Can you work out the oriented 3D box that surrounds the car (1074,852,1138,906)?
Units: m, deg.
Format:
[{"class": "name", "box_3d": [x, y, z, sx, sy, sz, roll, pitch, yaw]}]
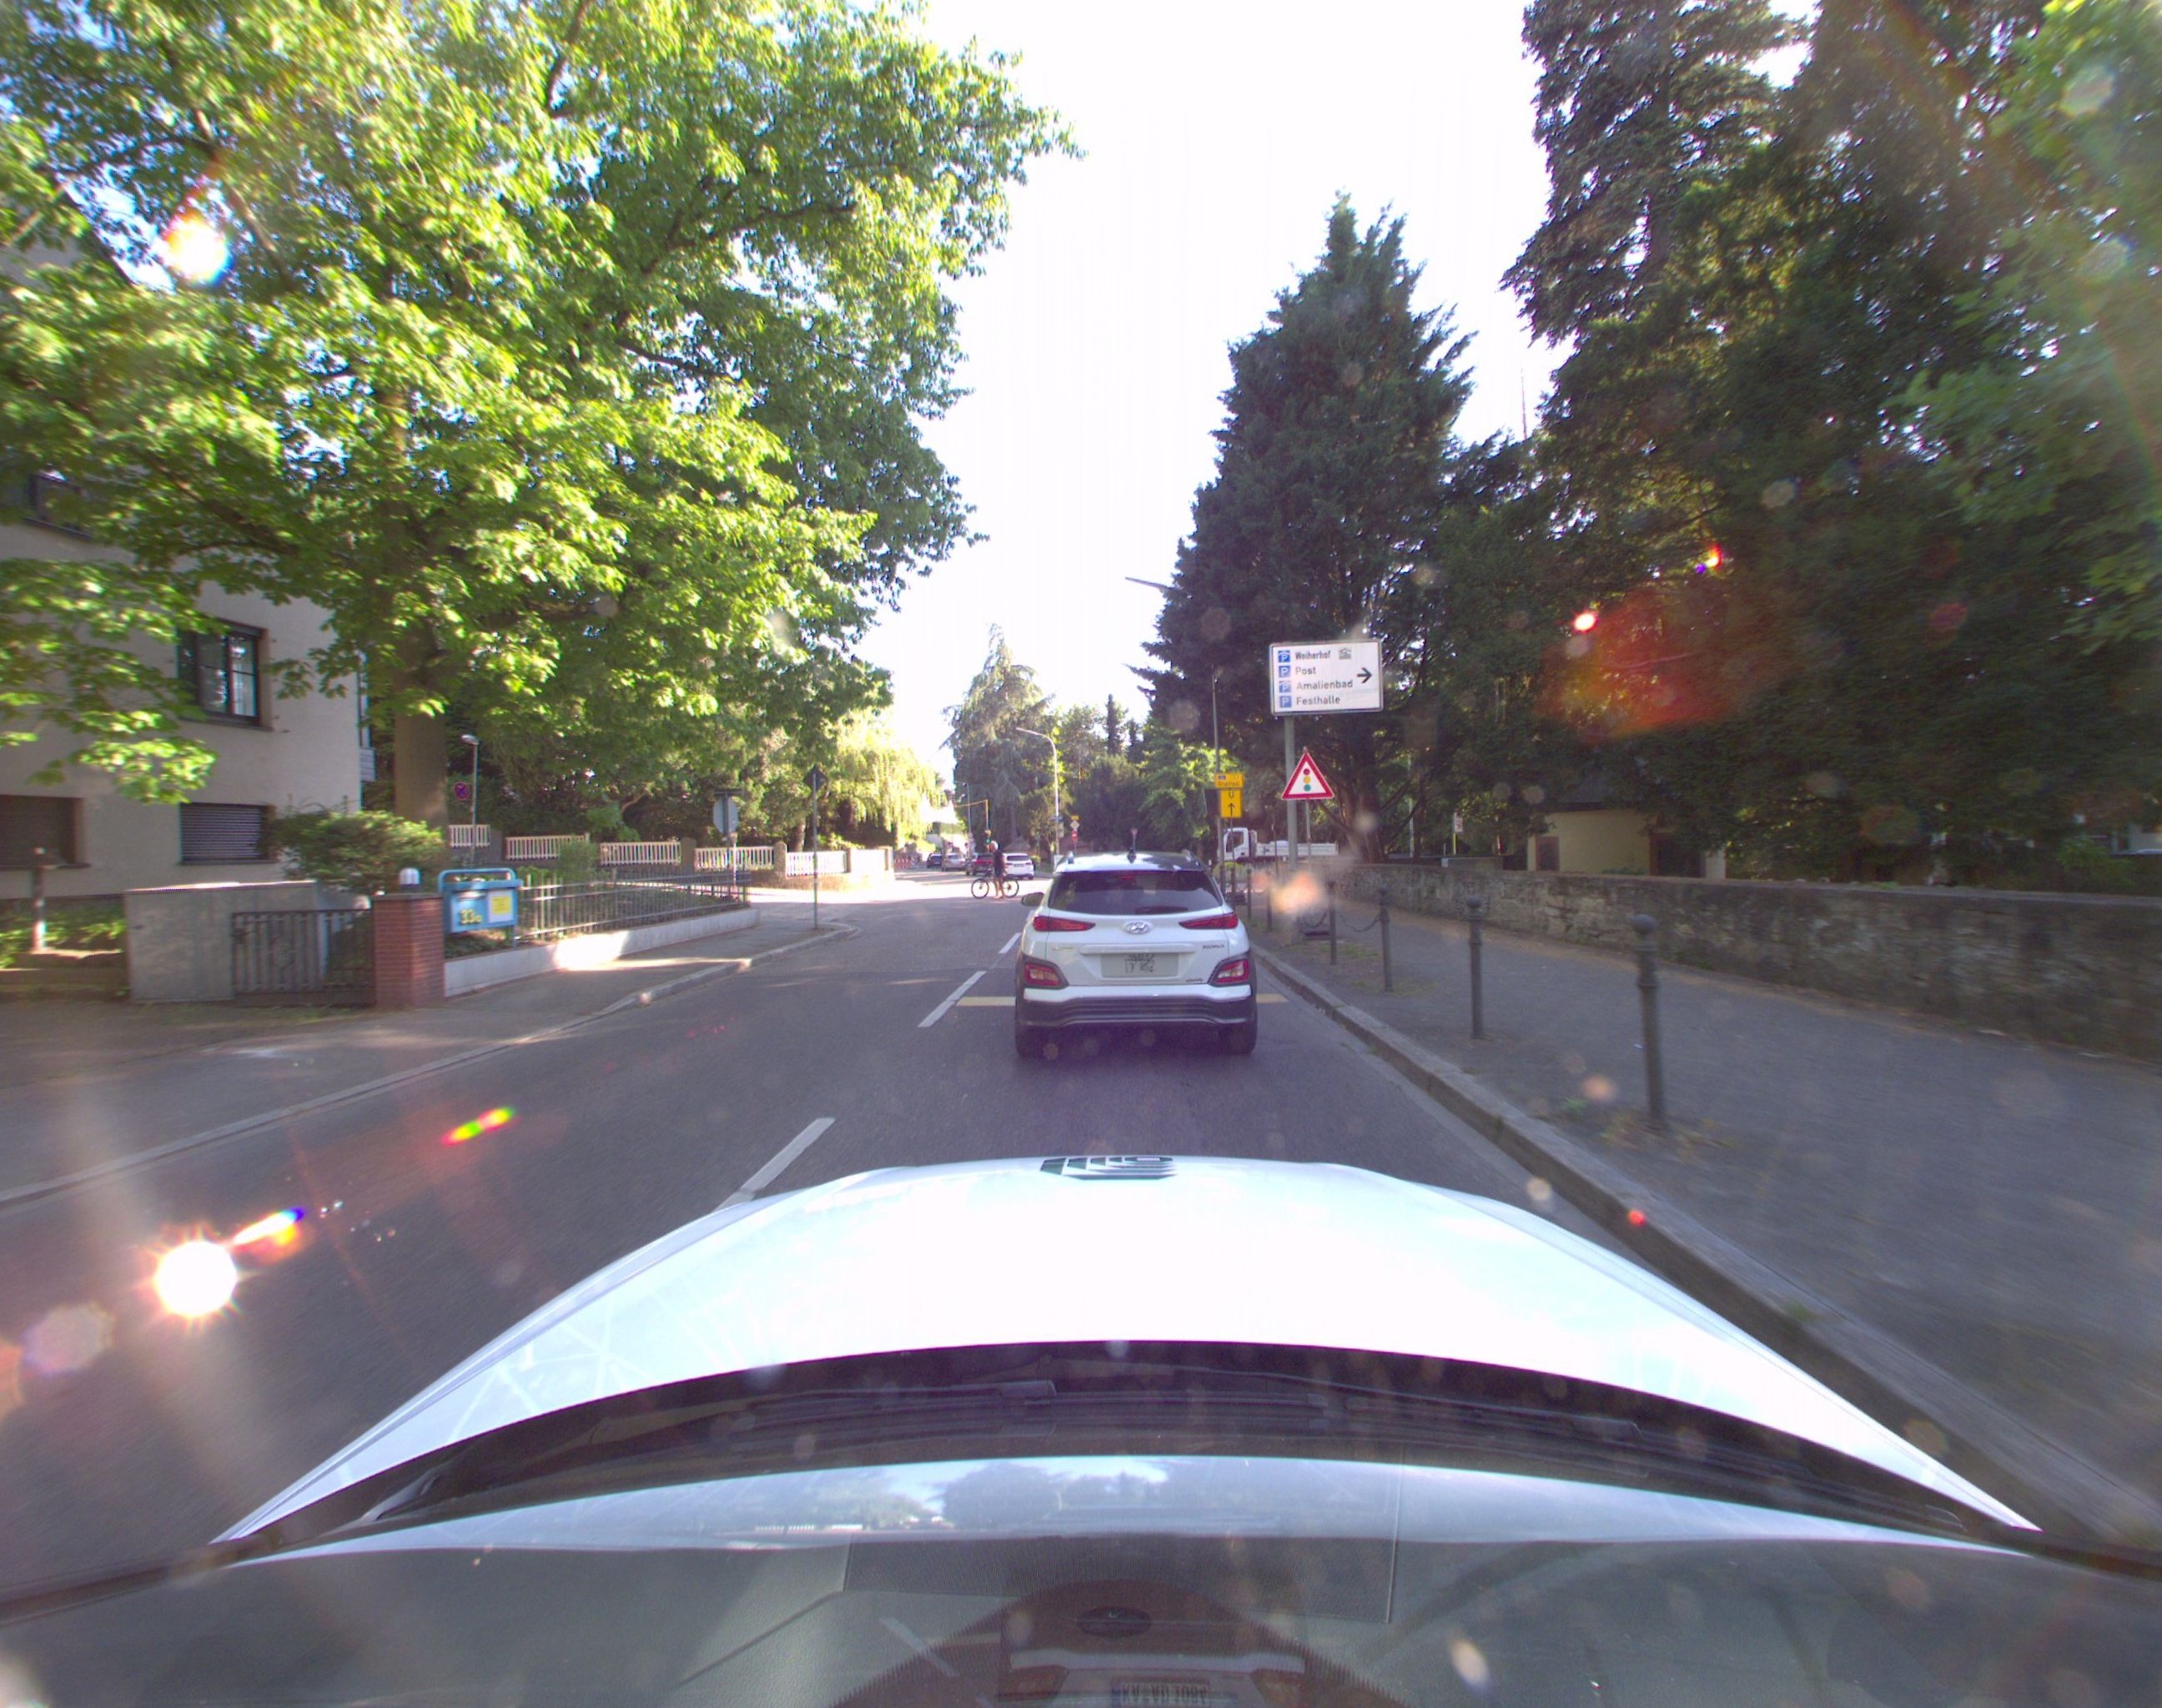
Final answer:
[{"class": "car", "box_3d": [0.735, 0.658, 23.841, 1.701, 1.434, 4.367, 0, 0, 2]}]

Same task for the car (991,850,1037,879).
[{"class": "car", "box_3d": [-3.838, 0.572, 46.087, 1.809, 1.537, 3.978, 0, 0, -16]}]

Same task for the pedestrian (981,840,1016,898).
[{"class": "pedestrian", "box_3d": [-2.664, 0.475, 26.361, 0.947, 1.826, 0.548, 0, 1, -37]}]

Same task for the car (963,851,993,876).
[{"class": "car", "box_3d": [-7.316, 0.654, 57.484, 1.832, 1.662, 3.985, 0, 0, -11]}]

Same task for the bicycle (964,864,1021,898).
[{"class": "bicycle", "box_3d": [-2.912, 0.868, 26.786, 1.825, 1.043, 0.555, 0, 1, -36]}]

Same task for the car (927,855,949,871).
[{"class": "car", "box_3d": [-15.045, 0.905, 85.545, 1.835, 1.662, 3.979, 0, 0, -15]}]

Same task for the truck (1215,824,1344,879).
[{"class": "truck", "box_3d": [10.612, -0.159, 44.064, 6.553, 2.895, 2.438, 0, 0, 6]}]

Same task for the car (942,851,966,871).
[{"class": "car", "box_3d": [-11.377, 0.606, 72.662, 1.834, 1.740, 3.981, 0, 0, -14]}]

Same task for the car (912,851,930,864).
[{"class": "car", "box_3d": [-20.928, 0.501, 106.402, 1.836, 1.662, 3.978, 0, 0, -16]}]

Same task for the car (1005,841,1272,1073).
[{"class": "car", "box_3d": [0.448, 0.689, 7.545, 1.814, 1.574, 4.001, 0, 0, 1]}]
